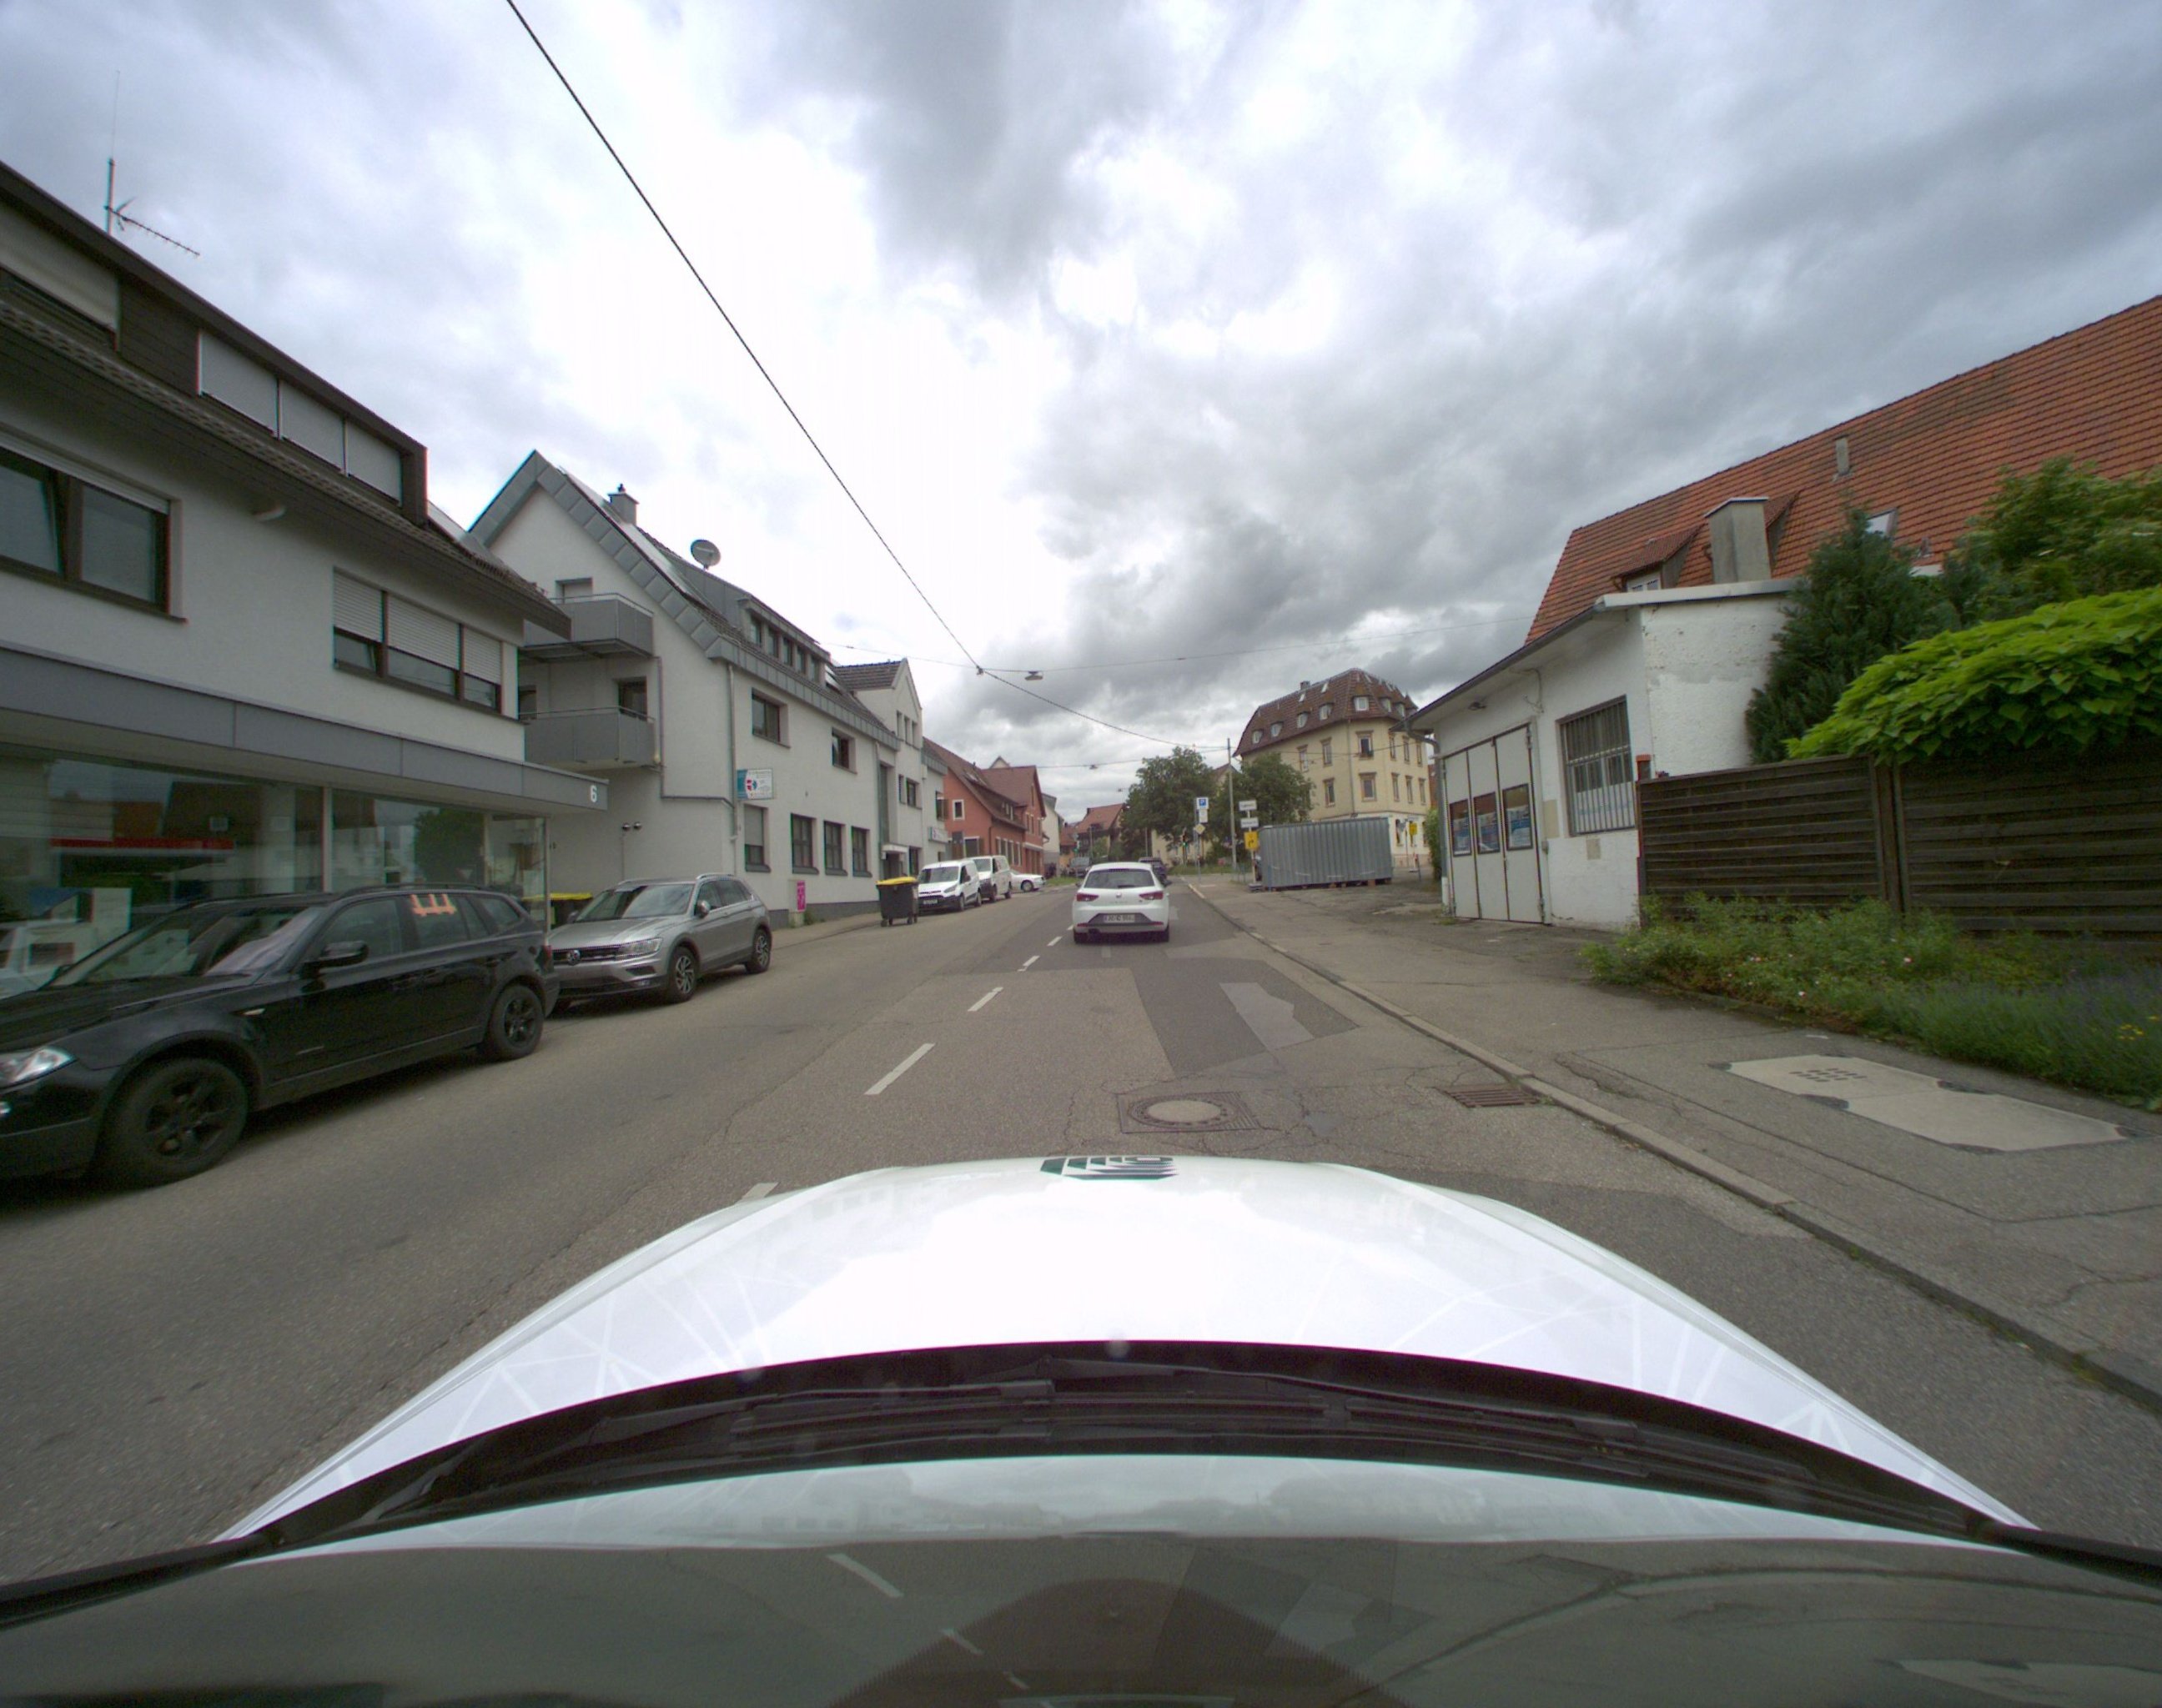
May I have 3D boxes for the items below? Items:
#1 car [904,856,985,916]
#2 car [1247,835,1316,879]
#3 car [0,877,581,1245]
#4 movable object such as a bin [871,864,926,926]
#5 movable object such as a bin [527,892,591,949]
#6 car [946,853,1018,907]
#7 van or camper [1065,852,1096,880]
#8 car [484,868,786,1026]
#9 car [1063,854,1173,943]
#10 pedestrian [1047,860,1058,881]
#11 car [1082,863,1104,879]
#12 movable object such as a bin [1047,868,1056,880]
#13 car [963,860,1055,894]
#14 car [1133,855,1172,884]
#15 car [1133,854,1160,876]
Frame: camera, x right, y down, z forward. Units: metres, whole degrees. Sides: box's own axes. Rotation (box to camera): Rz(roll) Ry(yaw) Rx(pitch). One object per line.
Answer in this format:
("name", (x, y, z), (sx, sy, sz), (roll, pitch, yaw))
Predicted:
("car", (-4.808, 1.081, 29.258), (1.725, 1.831, 4.303), (-5, 0, 5))
("car", (8.928, 0.125, 36.672), (1.741, 1.739, 4.569), (-4, 0, -2))
("car", (-5.996, 1.108, 6.020), (1.832, 1.632, 4.406), (-4, 0, -1))
("movable object such as a bin", (-5.184, 1.147, 23.273), (1.137, 1.633, 1.562), (-4, 0, -2))
("movable object such as a bin", (-12.700, 1.604, 19.849), (0.777, 1.299, 1.150), (-1, -1, 5))
("car", (-4.118, 1.034, 34.785), (1.802, 2.005, 4.772), (-5, 0, 7))
("van or camper", (0.017, 1.057, 69.137), (2.064, 2.006, 4.863), (-5, -3, 5))
("car", (-5.938, 1.107, 11.587), (1.832, 1.633, 4.406), (-4, 0, -1))
("car", (0.855, 0.784, 15.988), (1.749, 1.452, 4.008), (-3, -1, 7))
("pedestrian", (-2.489, 1.457, 70.749), (0.797, 1.785, 0.894), (-2, -1, 4))
("car", (1.265, 1.873, 88.592), (1.993, 1.633, 4.852), (-2, -2, -3))
("movable object such as a bin", (-2.807, 1.897, 77.465), (0.663, 1.018, 0.795), (-4, -1, 1))
("car", (-3.857, 1.255, 44.281), (4.528, 1.445, 2.005), (-5, -1, 8))
("car", (3.817, 0.867, 43.986), (1.752, 1.452, 4.000), (-3, -2, 1))
("car", (4.684, 0.807, 58.167), (1.750, 1.452, 4.004), (-3, -2, 4))
